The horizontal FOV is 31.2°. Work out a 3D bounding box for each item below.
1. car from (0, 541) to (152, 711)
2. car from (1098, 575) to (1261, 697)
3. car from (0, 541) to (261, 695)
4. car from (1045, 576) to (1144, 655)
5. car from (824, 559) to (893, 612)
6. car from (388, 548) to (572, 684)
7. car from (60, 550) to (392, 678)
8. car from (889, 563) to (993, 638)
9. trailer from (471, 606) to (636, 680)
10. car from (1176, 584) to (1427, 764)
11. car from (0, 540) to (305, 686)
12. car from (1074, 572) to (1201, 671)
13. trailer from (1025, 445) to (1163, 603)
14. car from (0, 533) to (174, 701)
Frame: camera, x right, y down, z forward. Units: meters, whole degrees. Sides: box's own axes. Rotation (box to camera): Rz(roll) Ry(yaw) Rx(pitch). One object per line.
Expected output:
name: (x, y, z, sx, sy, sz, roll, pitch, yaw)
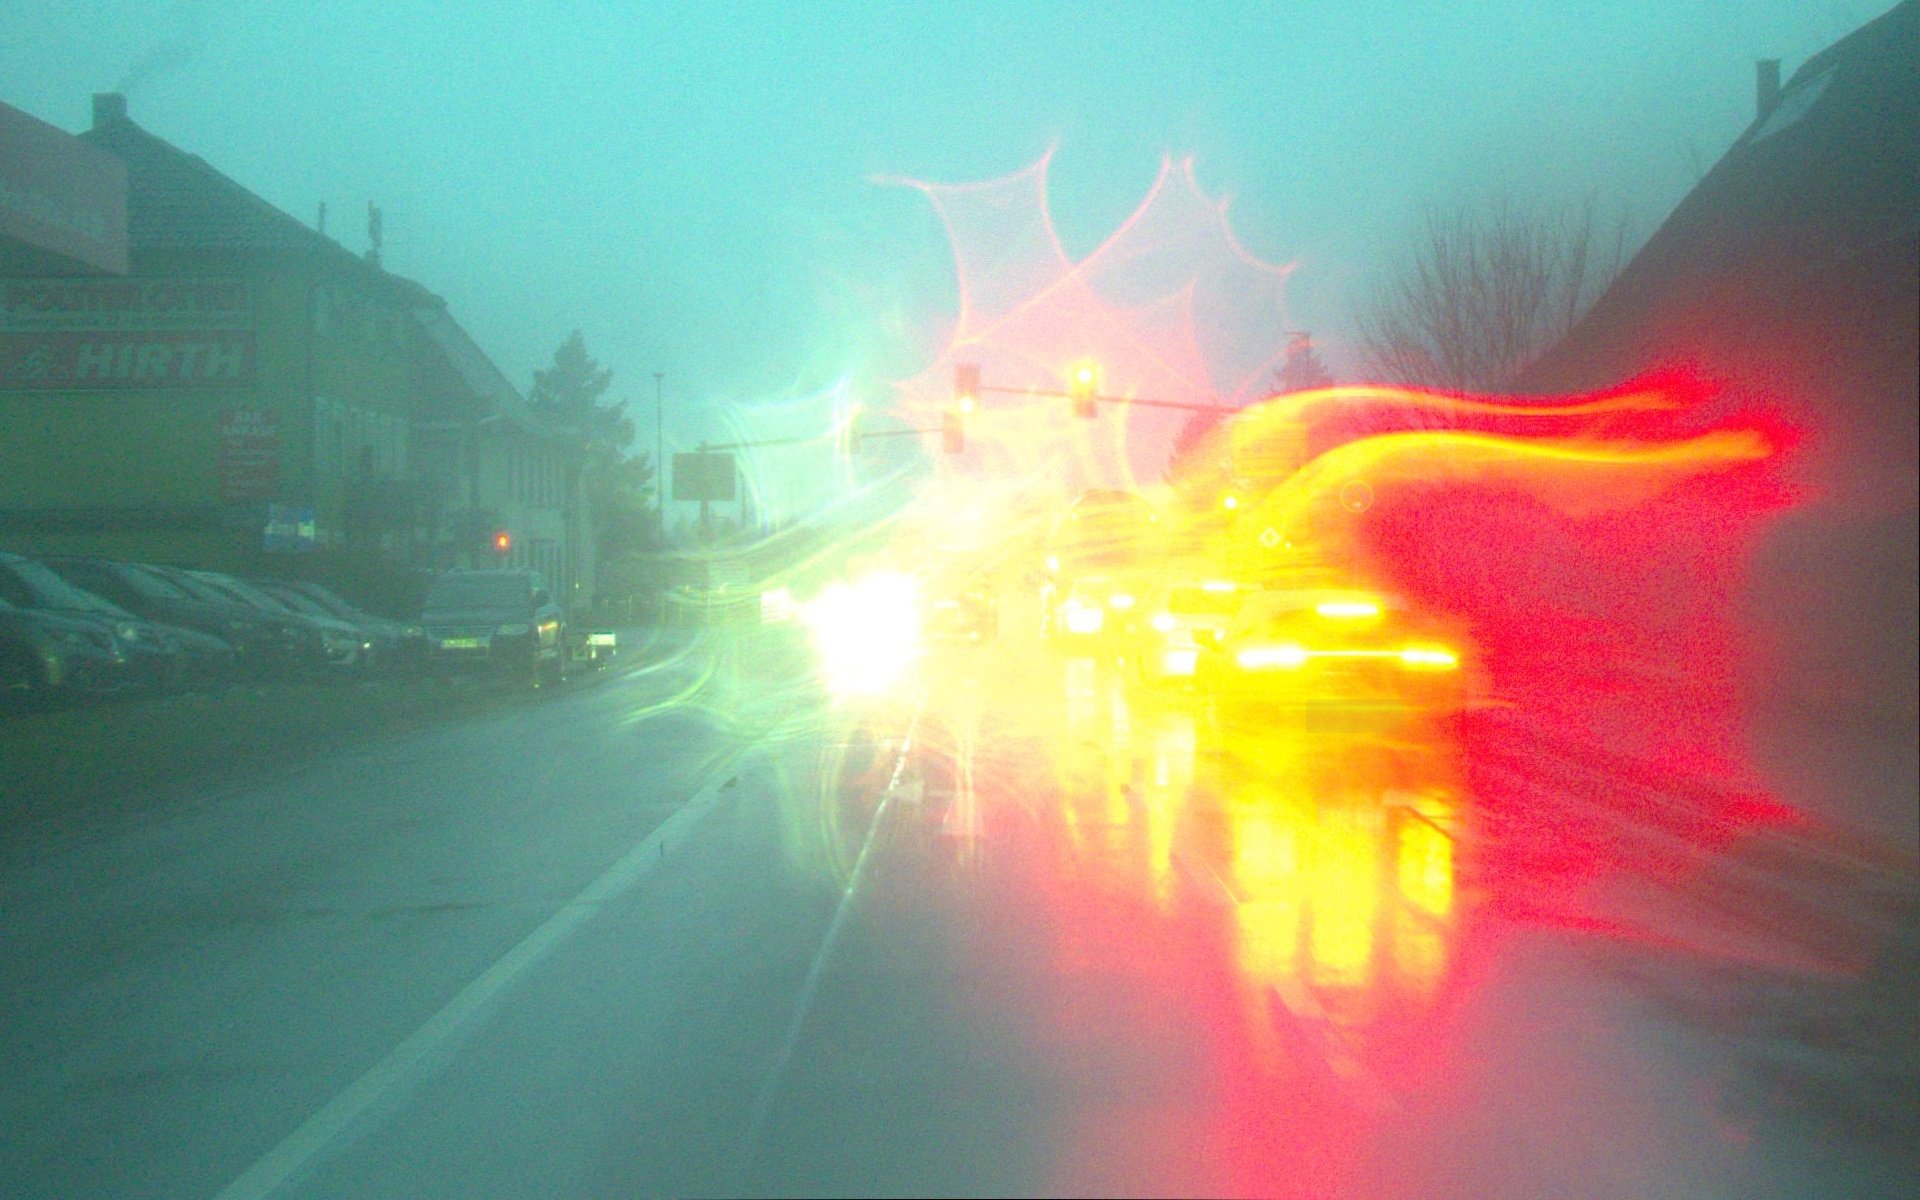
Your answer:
car: (-10.802, 0.187, 35.724, 4.276, 1.657, 2.000, 3, 1, 0)
car: (2.539, 0.388, 40.516, 1.653, 1.331, 4.272, 0, 1, 0)
car: (-10.699, 0.165, 40.920, 4.276, 1.657, 2.000, 3, 1, 0)
car: (2.517, 0.271, 65.135, 1.662, 1.434, 4.382, 1, 0, 0)
car: (-3.451, -0.519, 118.089, 1.994, 1.740, 4.000, -1, 0, 3)
car: (-6.815, 0.190, 49.251, 1.970, 1.824, 4.513, -1, 1, 0)
car: (-10.500, 0.186, 49.384, 4.276, 1.622, 2.000, 3, 1, 0)
car: (-0.442, -0.005, 75.208, 2.047, 1.567, 4.703, -1, 0, -3)
trailer: (-6.689, 0.684, 57.177, 1.993, 1.035, 6.104, -1, 1, 0)
car: (2.769, 0.558, 28.741, 1.641, 1.362, 4.769, 1, 0, 0)
car: (-10.738, 0.137, 43.855, 4.276, 1.657, 2.137, 3, 1, 0)
car: (2.922, 0.330, 57.410, 1.836, 1.563, 4.504, 1, 0, 0)
trailer: (2.873, -1.595, 76.250, 2.488, 3.230, 10.869, 1, 0, -1)
car: (-11.200, 0.110, 38.477, 4.276, 1.757, 2.000, 3, 1, 0)
